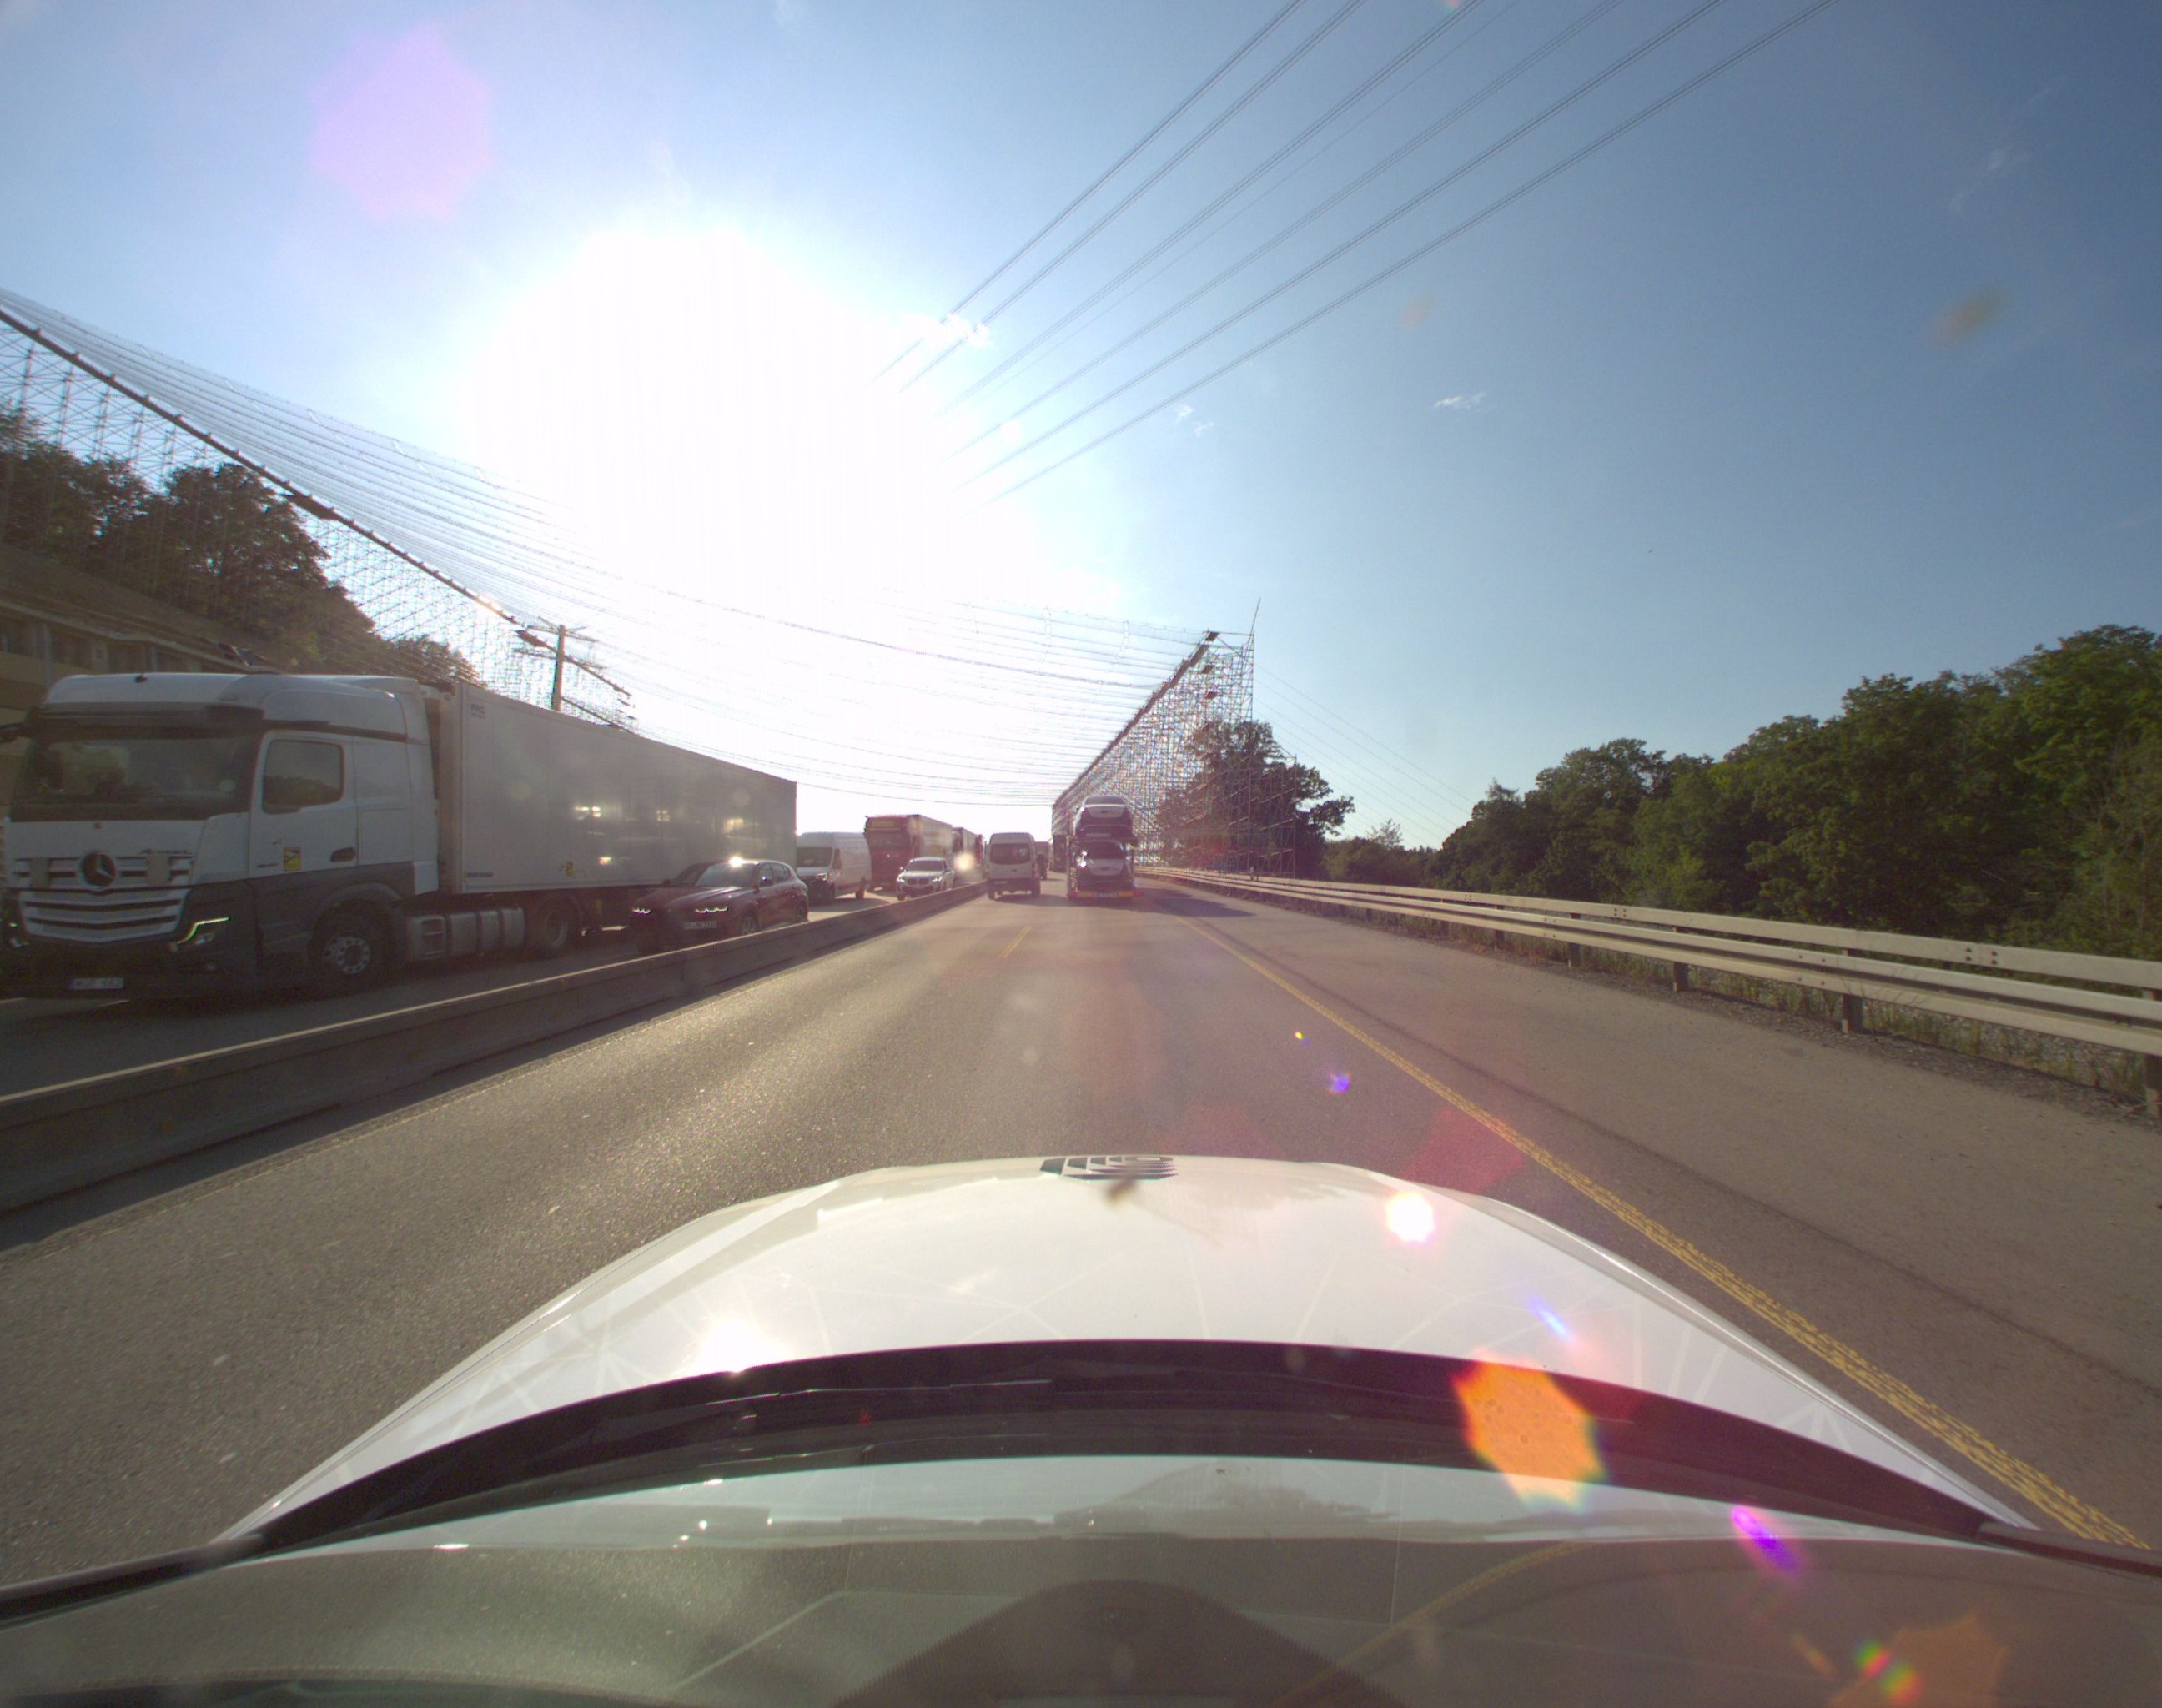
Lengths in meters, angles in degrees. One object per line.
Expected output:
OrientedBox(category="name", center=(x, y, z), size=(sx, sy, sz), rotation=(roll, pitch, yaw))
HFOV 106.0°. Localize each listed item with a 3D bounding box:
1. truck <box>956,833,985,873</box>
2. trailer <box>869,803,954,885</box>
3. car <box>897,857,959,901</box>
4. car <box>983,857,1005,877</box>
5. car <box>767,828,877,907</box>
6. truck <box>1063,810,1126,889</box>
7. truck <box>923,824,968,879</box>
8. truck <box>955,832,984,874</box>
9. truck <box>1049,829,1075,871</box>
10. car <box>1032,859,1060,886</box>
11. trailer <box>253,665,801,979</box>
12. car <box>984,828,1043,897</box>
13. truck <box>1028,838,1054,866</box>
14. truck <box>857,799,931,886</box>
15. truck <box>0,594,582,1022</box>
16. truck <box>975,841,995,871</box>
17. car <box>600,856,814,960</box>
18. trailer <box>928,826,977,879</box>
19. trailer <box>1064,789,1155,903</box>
OrientedBox(category="truck", center=(-12.088, -0.028, 90.300), size=(2.784, 4.141, 13.776), rotation=(-1, -1, -6))
OrientedBox(category="trailer", center=(-10.091, -0.449, 50.118), size=(2.759, 4.334, 13.868), rotation=(-1, -1, -2))
OrientedBox(category="car", center=(-6.293, 0.971, 33.941), size=(1.865, 1.588, 4.799), rotation=(1, 1, -3))
OrientedBox(category="car", center=(-7.413, 1.088, 69.154), size=(1.750, 1.657, 4.851), rotation=(-1, 0, -7))
OrientedBox(category="car", center=(-9.739, 0.423, 31.373), size=(2.015, 2.690, 6.948), rotation=(0, 1, 0))
OrientedBox(category="truck", center=(0.553, -0.174, 42.091), size=(2.874, 3.702, 7.319), rotation=(-1, -1, -2))
OrientedBox(category="truck", center=(-10.649, -0.143, 64.540), size=(2.781, 4.141, 5.926), rotation=(-1, -1, -3))
OrientedBox(category="truck", center=(-11.395, -0.089, 83.804), size=(2.784, 4.141, 6.664), rotation=(-1, -1, -6))
OrientedBox(category="truck", center=(-2.219, -0.393, 91.773), size=(2.725, 4.385, 11.511), rotation=(0, 0, -2))
OrientedBox(category="car", center=(-2.698, 1.421, 62.362), size=(1.990, 2.014, 3.992), rotation=(0, -1, -5))
OrientedBox(category="trailer", center=(-9.839, -0.375, 17.875), size=(2.712, 4.218, 13.744), rotation=(-1, -1, 0))
OrientedBox(category="car", center=(-2.711, 0.342, 33.499), size=(1.949, 2.621, 4.001), rotation=(-1, -1, 1))
OrientedBox(category="truck", center=(-6.383, -0.307, 132.519), size=(3.677, 4.220, 13.661), rotation=(-3, 0, -1))
OrientedBox(category="truck", center=(-9.847, -0.541, 43.470), size=(2.738, 4.300, 5.928), rotation=(-1, -1, -2))
OrientedBox(category="truck", center=(-9.789, -0.440, 10.903), size=(2.704, 4.218, 5.680), rotation=(-1, -1, -1))
OrientedBox(category="truck", center=(-13.864, 0.320, 117.124), size=(2.661, 4.230, 6.086), rotation=(-1, 0, -9))
OrientedBox(category="car", center=(-6.584, 0.853, 14.981), size=(1.882, 1.568, 4.454), rotation=(0, 0, 0))
OrientedBox(category="trailer", center=(-11.008, -0.076, 71.171), size=(2.793, 4.141, 13.949), rotation=(-1, -1, -3))
OrientedBox(category="trailer", center=(0.788, -0.193, 34.454), size=(2.861, 3.725, 14.935), rotation=(-1, -1, -2))
